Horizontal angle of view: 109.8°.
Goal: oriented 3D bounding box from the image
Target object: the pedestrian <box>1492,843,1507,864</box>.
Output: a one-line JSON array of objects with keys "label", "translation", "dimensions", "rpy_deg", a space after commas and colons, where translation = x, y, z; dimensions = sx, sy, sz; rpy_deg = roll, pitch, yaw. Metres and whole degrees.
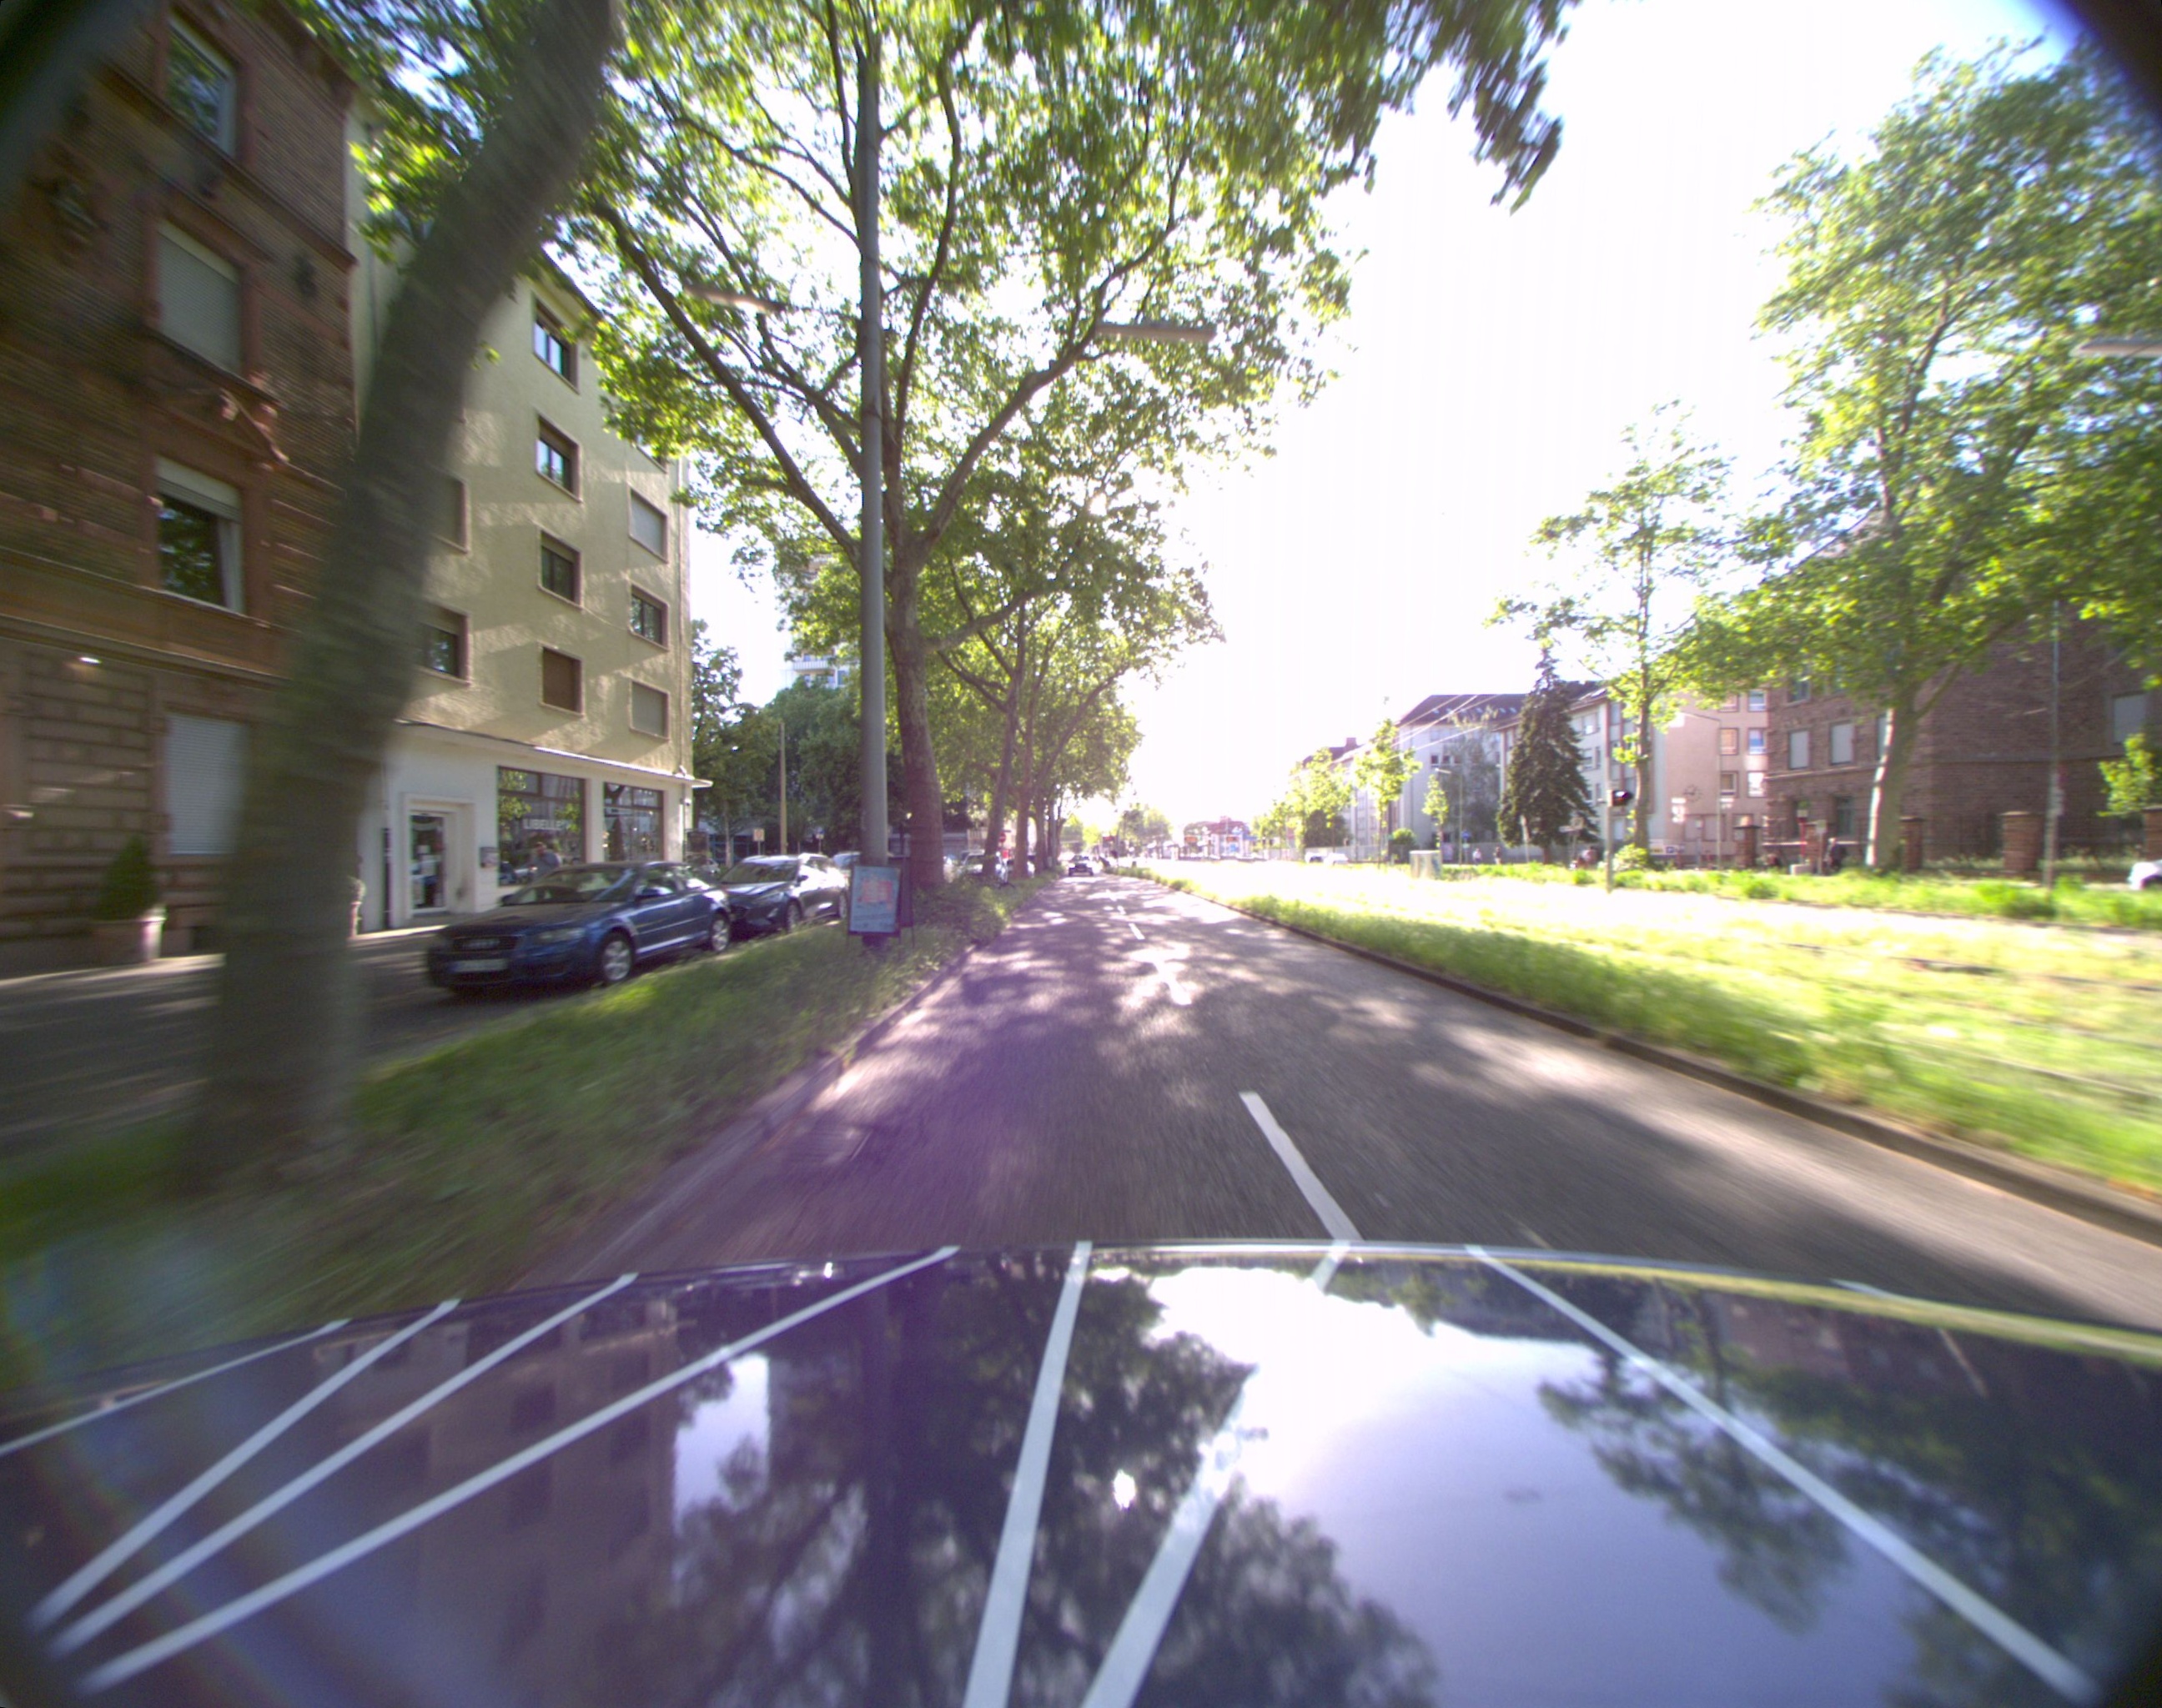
[{"label": "pedestrian", "translation": [34.325, -0.020, 62.296], "dimensions": [0.683, 1.686, 0.823], "rpy_deg": [-1, 1, -18]}]

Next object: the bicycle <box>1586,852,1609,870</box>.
[{"label": "bicycle", "translation": [31.353, 0.403, 46.129], "dimensions": [0.463, 1.061, 1.175], "rpy_deg": [-1, 0, -9]}]

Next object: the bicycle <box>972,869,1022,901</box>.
[{"label": "bicycle", "translation": [-2.822, 1.049, 25.629], "dimensions": [1.596, 1.052, 0.404], "rpy_deg": [-1, 1, 7]}]

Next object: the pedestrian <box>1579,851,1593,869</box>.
[{"label": "pedestrian", "translation": [31.271, 0.365, 47.054], "dimensions": [0.445, 1.093, 0.587], "rpy_deg": [-1, 0, -4]}]

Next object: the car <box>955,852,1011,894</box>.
[{"label": "car", "translation": [-4.044, 0.724, 32.142], "dimensions": [1.908, 1.626, 4.823], "rpy_deg": [-1, 0, -2]}]

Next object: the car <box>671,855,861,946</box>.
[{"label": "car", "translation": [-5.864, 0.798, 14.831], "dimensions": [1.699, 1.498, 4.582], "rpy_deg": [-1, -1, 1]}]

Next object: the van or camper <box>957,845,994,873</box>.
[{"label": "van or camper", "translation": [-8.923, 0.386, 64.779], "dimensions": [2.297, 2.273, 5.822], "rpy_deg": [-1, 0, 0]}]

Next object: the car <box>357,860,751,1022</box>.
[{"label": "car", "translation": [-5.993, 0.853, 9.419], "dimensions": [1.838, 1.399, 4.192], "rpy_deg": [-3, 0, 1]}]

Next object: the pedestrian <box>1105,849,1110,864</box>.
[{"label": "pedestrian", "translation": [3.537, 0.298, 100.795], "dimensions": [0.669, 2.002, 0.716], "rpy_deg": [-1, 1, 1]}]

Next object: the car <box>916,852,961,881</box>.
[{"label": "car", "translation": [-9.163, 0.772, 49.247], "dimensions": [1.824, 1.732, 5.167], "rpy_deg": [-1, 0, 0]}]

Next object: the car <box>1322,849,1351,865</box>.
[{"label": "car", "translation": [25.495, 0.289, 75.967], "dimensions": [1.769, 1.613, 4.477], "rpy_deg": [-1, 0, 6]}]

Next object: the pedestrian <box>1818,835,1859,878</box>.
[{"label": "pedestrian", "translation": [33.790, 0.114, 33.895], "dimensions": [0.903, 1.888, 0.942], "rpy_deg": [-1, 0, 1]}]

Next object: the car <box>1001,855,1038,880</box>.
[{"label": "car", "translation": [-3.604, 0.766, 45.560], "dimensions": [1.758, 1.390, 5.026], "rpy_deg": [-1, 0, 0]}]

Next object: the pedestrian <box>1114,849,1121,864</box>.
[{"label": "pedestrian", "translation": [4.231, 0.278, 88.405], "dimensions": [0.714, 1.670, 0.772], "rpy_deg": [-2, 1, -1]}]

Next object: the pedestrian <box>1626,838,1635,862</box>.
[{"label": "pedestrian", "translation": [39.383, -0.264, 54.452], "dimensions": [0.376, 1.686, 0.449], "rpy_deg": [-1, 1, 6]}]

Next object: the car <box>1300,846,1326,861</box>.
[{"label": "car", "translation": [26.412, -0.079, 86.587], "dimensions": [1.998, 1.697, 4.150], "rpy_deg": [-1, 0, 4]}]

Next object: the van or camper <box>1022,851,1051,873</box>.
[{"label": "van or camper", "translation": [-3.325, 0.597, 56.104], "dimensions": [1.507, 1.578, 2.836], "rpy_deg": [-1, 0, -17]}]

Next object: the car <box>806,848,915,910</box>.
[{"label": "car", "translation": [-5.864, 0.640, 20.758], "dimensions": [1.699, 1.521, 4.261], "rpy_deg": [-1, -1, 0]}]

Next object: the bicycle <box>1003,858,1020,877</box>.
[{"label": "bicycle", "translation": [-3.541, 0.678, 38.604], "dimensions": [0.640, 0.920, 2.164], "rpy_deg": [-1, 0, 0]}]

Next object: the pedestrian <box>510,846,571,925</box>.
[{"label": "pedestrian", "translation": [-11.938, 0.680, 16.803], "dimensions": [0.797, 1.694, 0.724], "rpy_deg": [0, 1, 1]}]

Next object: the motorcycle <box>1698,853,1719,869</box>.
[{"label": "motorcycle", "translation": [36.976, 0.408, 44.790], "dimensions": [0.335, 0.941, 1.044], "rpy_deg": [-1, 1, -3]}]

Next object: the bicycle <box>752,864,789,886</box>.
[{"label": "bicycle", "translation": [-16.312, 1.092, 39.930], "dimensions": [2.140, 1.097, 0.473], "rpy_deg": [-1, 1, 25]}]

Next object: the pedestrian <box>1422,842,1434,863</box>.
[{"label": "pedestrian", "translation": [33.261, -0.136, 72.847], "dimensions": [0.664, 2.002, 0.860], "rpy_deg": [-1, 1, 0]}]

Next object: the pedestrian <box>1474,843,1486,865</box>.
[{"label": "pedestrian", "translation": [33.392, -0.032, 63.611], "dimensions": [0.694, 1.826, 0.573], "rpy_deg": [-1, 1, 0]}]

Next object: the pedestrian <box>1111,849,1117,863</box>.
[{"label": "pedestrian", "translation": [4.321, 0.272, 99.945], "dimensions": [0.683, 1.773, 0.754], "rpy_deg": [-1, 1, 1]}]

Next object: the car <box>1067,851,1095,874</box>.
[{"label": "car", "translation": [0.071, 0.617, 58.641], "dimensions": [1.979, 1.660, 4.620], "rpy_deg": [-2, 0, 2]}]

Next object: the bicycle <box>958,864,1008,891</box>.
[{"label": "bicycle", "translation": [-3.671, 0.868, 28.500], "dimensions": [1.767, 0.922, 0.652], "rpy_deg": [-1, 1, -40]}]

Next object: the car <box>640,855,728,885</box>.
[{"label": "car", "translation": [-22.638, 0.882, 43.509], "dimensions": [1.996, 1.618, 4.395], "rpy_deg": [-1, 0, 15]}]

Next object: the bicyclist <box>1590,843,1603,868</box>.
[{"label": "bicyclist", "translation": [31.339, 0.101, 46.187], "dimensions": [0.455, 1.490, 0.502], "rpy_deg": [-1, 1, -9]}]

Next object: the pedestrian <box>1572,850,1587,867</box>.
[{"label": "pedestrian", "translation": [31.241, 0.270, 47.613], "dimensions": [0.587, 1.093, 0.478], "rpy_deg": [-1, 0, -1]}]

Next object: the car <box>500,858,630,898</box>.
[{"label": "car", "translation": [-21.822, 1.015, 32.184], "dimensions": [4.592, 1.571, 2.002], "rpy_deg": [-1, 0, 16]}]

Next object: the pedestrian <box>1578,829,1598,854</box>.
[{"label": "pedestrian", "translation": [35.088, -0.838, 52.577], "dimensions": [0.683, 1.686, 0.882], "rpy_deg": [-1, 1, -28]}]

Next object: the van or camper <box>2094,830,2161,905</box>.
[{"label": "van or camper", "translation": [26.671, 0.325, 17.019], "dimensions": [1.999, 1.777, 4.431], "rpy_deg": [0, 0, -2]}]

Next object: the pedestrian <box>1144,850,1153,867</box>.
[{"label": "pedestrian", "translation": [7.030, 0.497, 79.270], "dimensions": [0.955, 1.726, 0.730], "rpy_deg": [-1, 0, 3]}]
